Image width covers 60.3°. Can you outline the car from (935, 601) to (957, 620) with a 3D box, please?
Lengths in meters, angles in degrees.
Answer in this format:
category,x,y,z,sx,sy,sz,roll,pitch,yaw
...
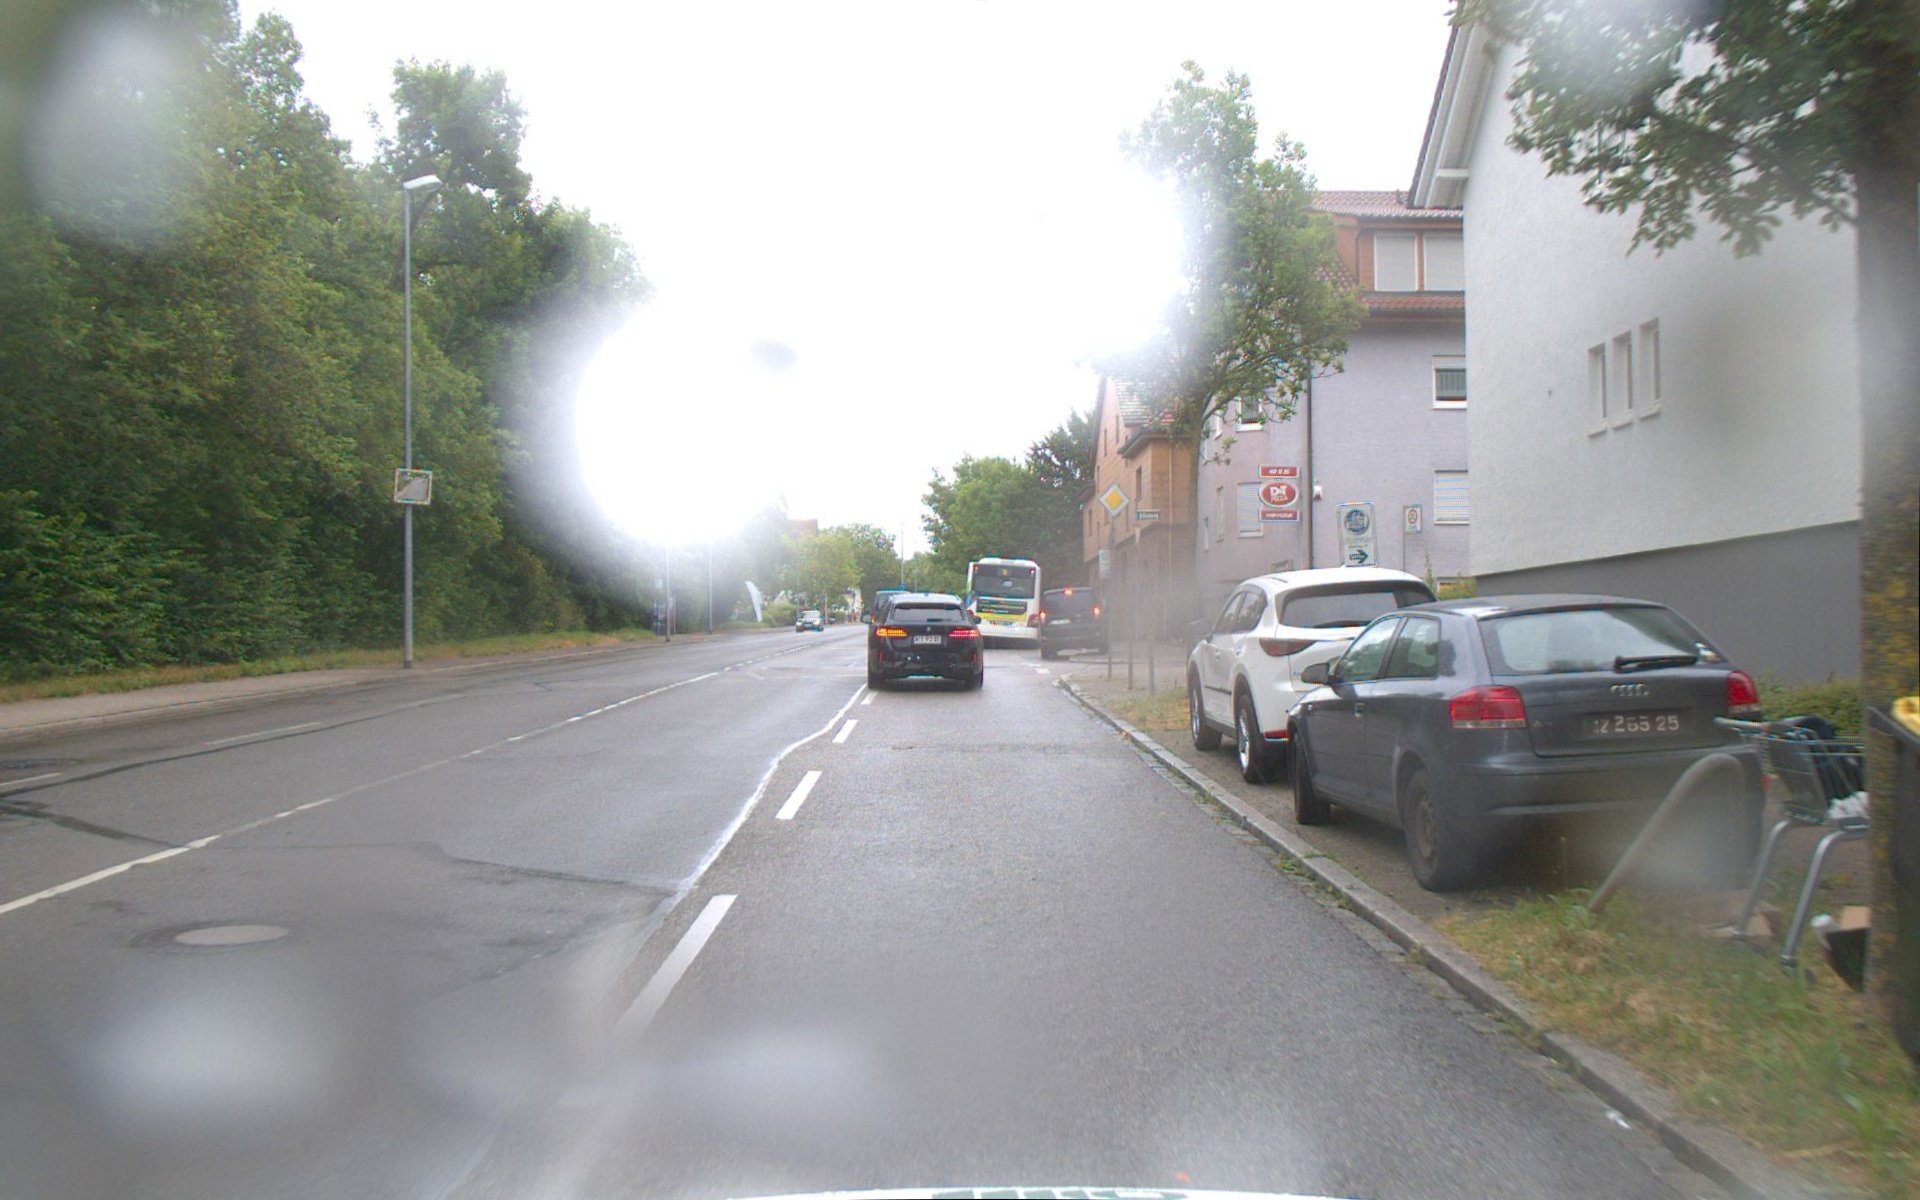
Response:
category,x,y,z,sx,sy,sz,roll,pitch,yaw
car,-1.222,0.892,144.671,1.828,1.545,3.999,-1,1,-2

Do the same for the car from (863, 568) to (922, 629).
category,x,y,z,sx,sy,sz,roll,pitch,yaw
car,-2.321,-0.051,57.790,1.953,2.049,3.999,0,0,-1

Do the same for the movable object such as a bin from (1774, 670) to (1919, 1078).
category,x,y,z,sx,sy,sz,roll,pitch,yaw
movable object such as a bin,2.918,0.771,4.828,0.607,1.068,0.822,-3,1,-4

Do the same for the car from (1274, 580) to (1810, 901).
category,x,y,z,sx,sy,sz,roll,pitch,yaw
car,3.105,0.649,9.731,1.608,1.474,3.996,-1,0,-2

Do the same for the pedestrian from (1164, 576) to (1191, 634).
category,x,y,z,sx,sy,sz,roll,pitch,yaw
pedestrian,6.895,0.157,52.414,0.676,1.785,0.669,-2,0,-2

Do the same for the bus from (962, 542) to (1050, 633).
category,x,y,z,sx,sy,sz,roll,pitch,yaw
bus,1.722,-0.457,57.909,2.568,2.897,8.294,-2,1,5

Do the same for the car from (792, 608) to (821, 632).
category,x,y,z,sx,sy,sz,roll,pitch,yaw
car,-10.773,1.379,116.428,1.734,1.560,3.999,-2,1,-1

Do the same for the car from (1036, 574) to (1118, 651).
category,x,y,z,sx,sy,sz,roll,pitch,yaw
car,3.338,0.358,46.384,1.886,1.925,4.765,-4,-1,7

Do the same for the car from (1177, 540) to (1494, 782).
category,x,y,z,sx,sy,sz,roll,pitch,yaw
car,3.154,0.436,14.853,1.787,1.803,4.541,-1,1,0

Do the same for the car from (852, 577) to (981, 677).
category,x,y,z,sx,sy,sz,roll,pitch,yaw
car,-0.681,0.406,27.766,1.953,1.478,4.000,2,0,0

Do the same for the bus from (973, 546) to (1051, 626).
category,x,y,z,sx,sy,sz,roll,pitch,yaw
bus,1.997,-0.577,66.846,2.570,2.897,9.792,-2,1,-1
